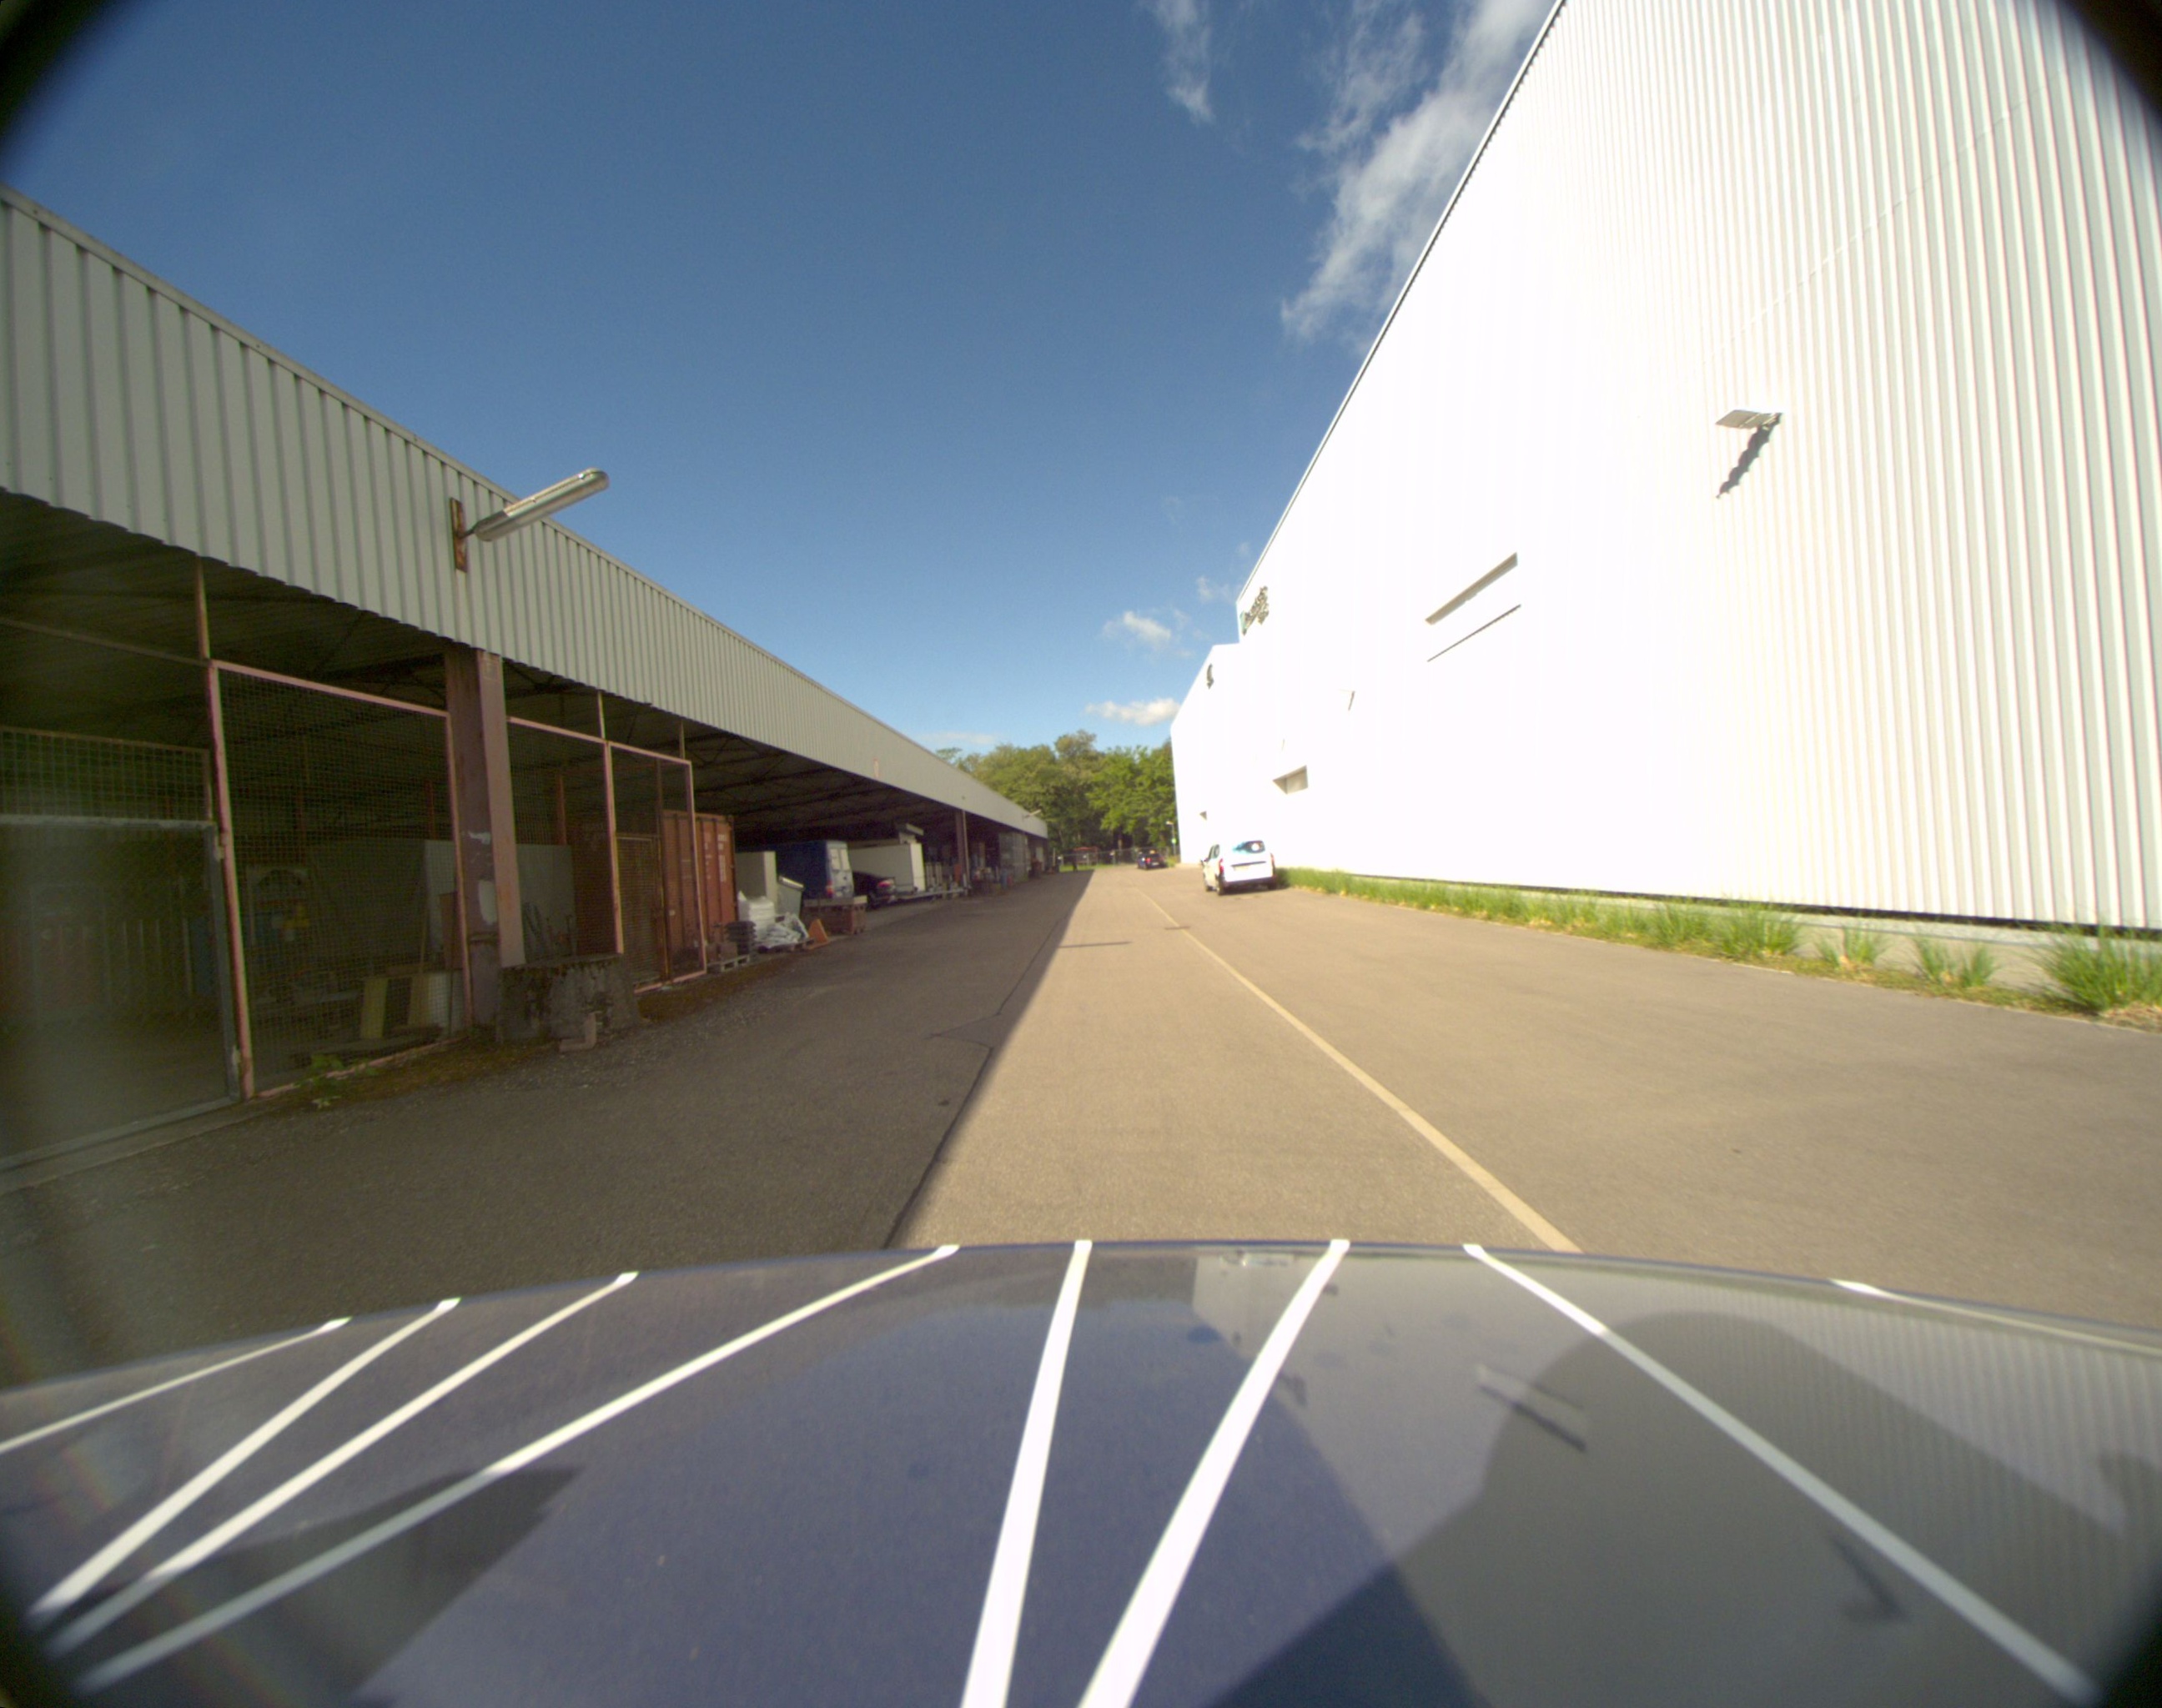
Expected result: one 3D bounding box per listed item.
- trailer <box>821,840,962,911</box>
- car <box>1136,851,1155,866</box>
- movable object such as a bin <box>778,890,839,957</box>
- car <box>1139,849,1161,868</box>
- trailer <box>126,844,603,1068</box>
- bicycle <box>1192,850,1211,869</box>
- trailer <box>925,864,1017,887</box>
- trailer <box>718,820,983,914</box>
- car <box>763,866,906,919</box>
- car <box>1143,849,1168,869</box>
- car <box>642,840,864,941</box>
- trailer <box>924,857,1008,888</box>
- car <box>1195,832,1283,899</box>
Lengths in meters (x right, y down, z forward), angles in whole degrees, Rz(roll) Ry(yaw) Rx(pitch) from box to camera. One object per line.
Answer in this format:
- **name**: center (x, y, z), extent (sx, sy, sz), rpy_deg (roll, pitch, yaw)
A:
- **trailer**: center (-7.246, 0.810, 29.306), extent (4.822, 2.377, 1.827), rpy_deg (-3, 0, 6)
- **car**: center (6.674, 0.468, 78.632), extent (1.789, 1.431, 4.001), rpy_deg (-3, 0, 3)
- **movable object such as a bin**: center (-5.306, 1.337, 14.843), extent (0.583, 1.157, 1.238), rpy_deg (-3, 0, 6)
- **car**: center (6.631, 0.426, 73.129), extent (1.789, 1.513, 4.001), rpy_deg (-7, 0, 3)
- **trailer**: center (-8.168, 0.983, 9.350), extent (1.860, 2.046, 4.099), rpy_deg (-3, 0, 0)
- **bicycle**: center (8.247, 0.376, 51.909), extent (0.909, 1.136, 1.901), rpy_deg (-7, 0, 17)
- **trailer**: center (-7.319, 1.426, 50.958), extent (5.837, 1.113, 2.029), rpy_deg (-3, 0, 0)
- **trailer**: center (-9.459, 0.536, 31.901), extent (10.062, 3.197, 2.854), rpy_deg (-3, 0, 1)
- **car**: center (-8.574, 1.323, 26.700), extent (4.340, 1.487, 1.777), rpy_deg (-3, 0, -1)
- **car**: center (6.621, 0.399, 67.877), extent (1.895, 1.513, 4.001), rpy_deg (-7, 0, 3)
- **car**: center (-8.765, 0.942, 20.605), extent (4.991, 2.312, 2.000), rpy_deg (-4, 0, 2)
- **trailer**: center (-7.140, 1.147, 47.603), extent (4.879, 1.619, 2.029), rpy_deg (-3, 0, 0)
- **car**: center (5.122, 0.357, 25.255), extent (1.895, 1.835, 4.358), rpy_deg (-6, 0, 1)
